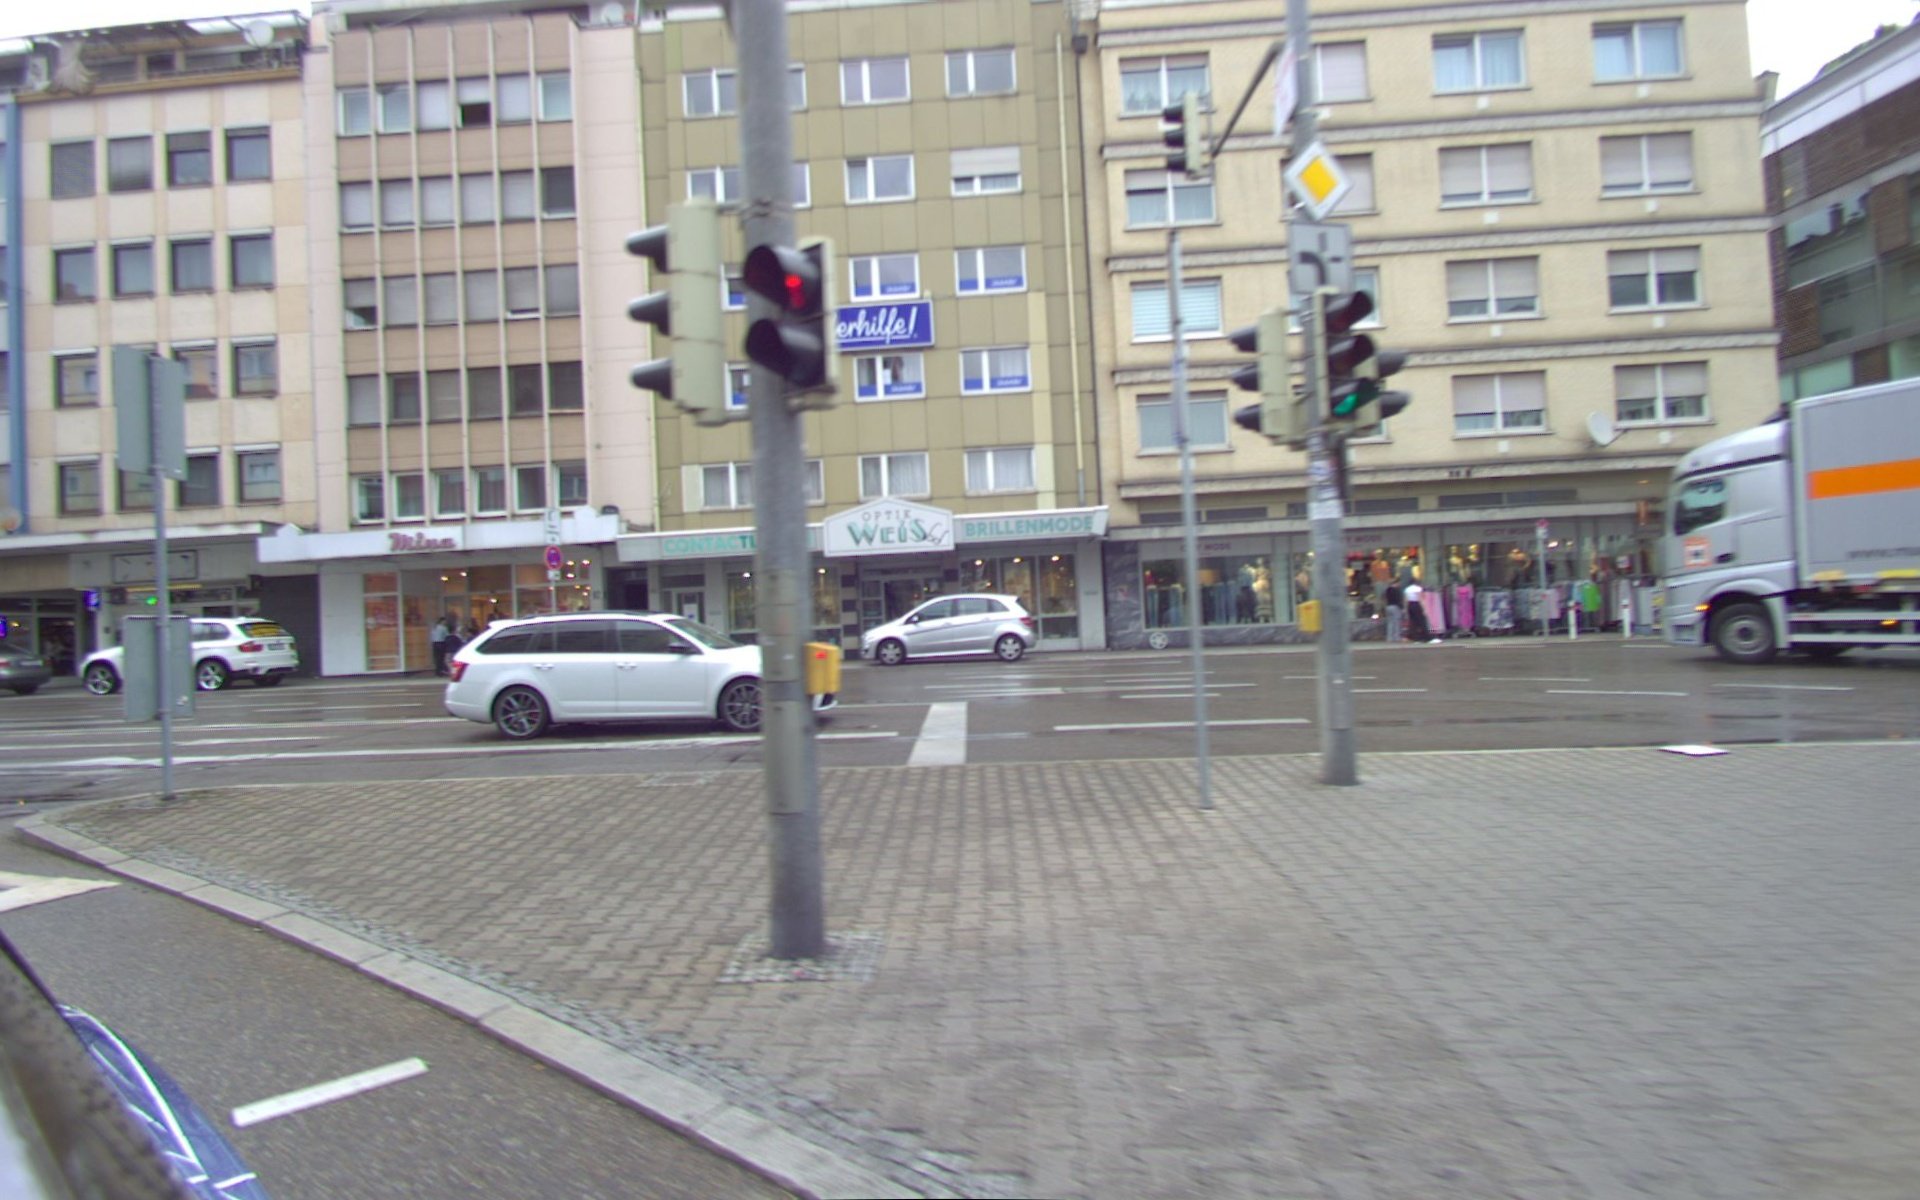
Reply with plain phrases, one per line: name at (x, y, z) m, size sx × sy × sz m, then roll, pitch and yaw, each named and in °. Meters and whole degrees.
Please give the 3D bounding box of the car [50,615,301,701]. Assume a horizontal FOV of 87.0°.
car at (-19.288, 1.399, 24.994) m, size 4.899 × 1.841 × 1.853 m, roll -3°, pitch 0°, yaw 4°

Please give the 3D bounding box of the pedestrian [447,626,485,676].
pedestrian at (-13.263, 1.358, 27.178) m, size 0.711 × 1.259 × 0.536 m, roll -3°, pitch 0°, yaw 2°

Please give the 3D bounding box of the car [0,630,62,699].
car at (-25.647, 1.691, 25.348) m, size 4.817 × 1.620 × 1.869 m, roll -3°, pitch 0°, yaw 4°

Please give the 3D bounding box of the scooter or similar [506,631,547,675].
scooter or similar at (-11.139, 1.359, 26.019) m, size 0.691 × 1.062 × 0.738 m, roll -2°, pitch 1°, yaw 2°

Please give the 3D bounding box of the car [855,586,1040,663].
car at (-0.238, 0.568, 23.765) m, size 4.148 × 1.575 × 1.703 m, roll -3°, pitch 0°, yaw 5°

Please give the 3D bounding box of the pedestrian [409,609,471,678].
pedestrian at (-13.853, 1.150, 26.971) m, size 1.085 × 1.726 × 0.946 m, roll -3°, pitch 0°, yaw 26°

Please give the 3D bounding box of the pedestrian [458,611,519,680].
pedestrian at (-12.478, 1.181, 26.812) m, size 1.072 × 1.708 × 0.954 m, roll -3°, pitch 0°, yaw 1°

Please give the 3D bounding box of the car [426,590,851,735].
car at (-3.757, 0.725, 12.332) m, size 4.569 × 1.426 × 1.797 m, roll -3°, pitch -1°, yaw 2°

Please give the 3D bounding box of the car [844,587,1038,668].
car at (-0.414, 0.613, 23.888) m, size 4.341 × 1.562 × 1.852 m, roll -3°, pitch 1°, yaw 2°

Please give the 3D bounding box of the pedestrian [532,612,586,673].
pedestrian at (-10.297, 1.085, 26.010) m, size 1.051 × 1.495 × 0.668 m, roll -2°, pitch 0°, yaw 2°

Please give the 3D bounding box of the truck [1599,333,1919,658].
truck at (14.494, -1.468, 13.319) m, size 2.807 × 4.366 × 10.804 m, roll -2°, pitch 0°, yaw -18°

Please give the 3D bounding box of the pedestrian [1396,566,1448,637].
pedestrian at (11.019, 0.035, 24.136) m, size 0.762 × 1.640 × 0.847 m, roll -2°, pitch 0°, yaw -40°

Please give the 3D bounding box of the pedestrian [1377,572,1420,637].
pedestrian at (10.906, 0.108, 25.206) m, size 0.672 × 1.548 × 0.787 m, roll -2°, pitch 0°, yaw 1°
